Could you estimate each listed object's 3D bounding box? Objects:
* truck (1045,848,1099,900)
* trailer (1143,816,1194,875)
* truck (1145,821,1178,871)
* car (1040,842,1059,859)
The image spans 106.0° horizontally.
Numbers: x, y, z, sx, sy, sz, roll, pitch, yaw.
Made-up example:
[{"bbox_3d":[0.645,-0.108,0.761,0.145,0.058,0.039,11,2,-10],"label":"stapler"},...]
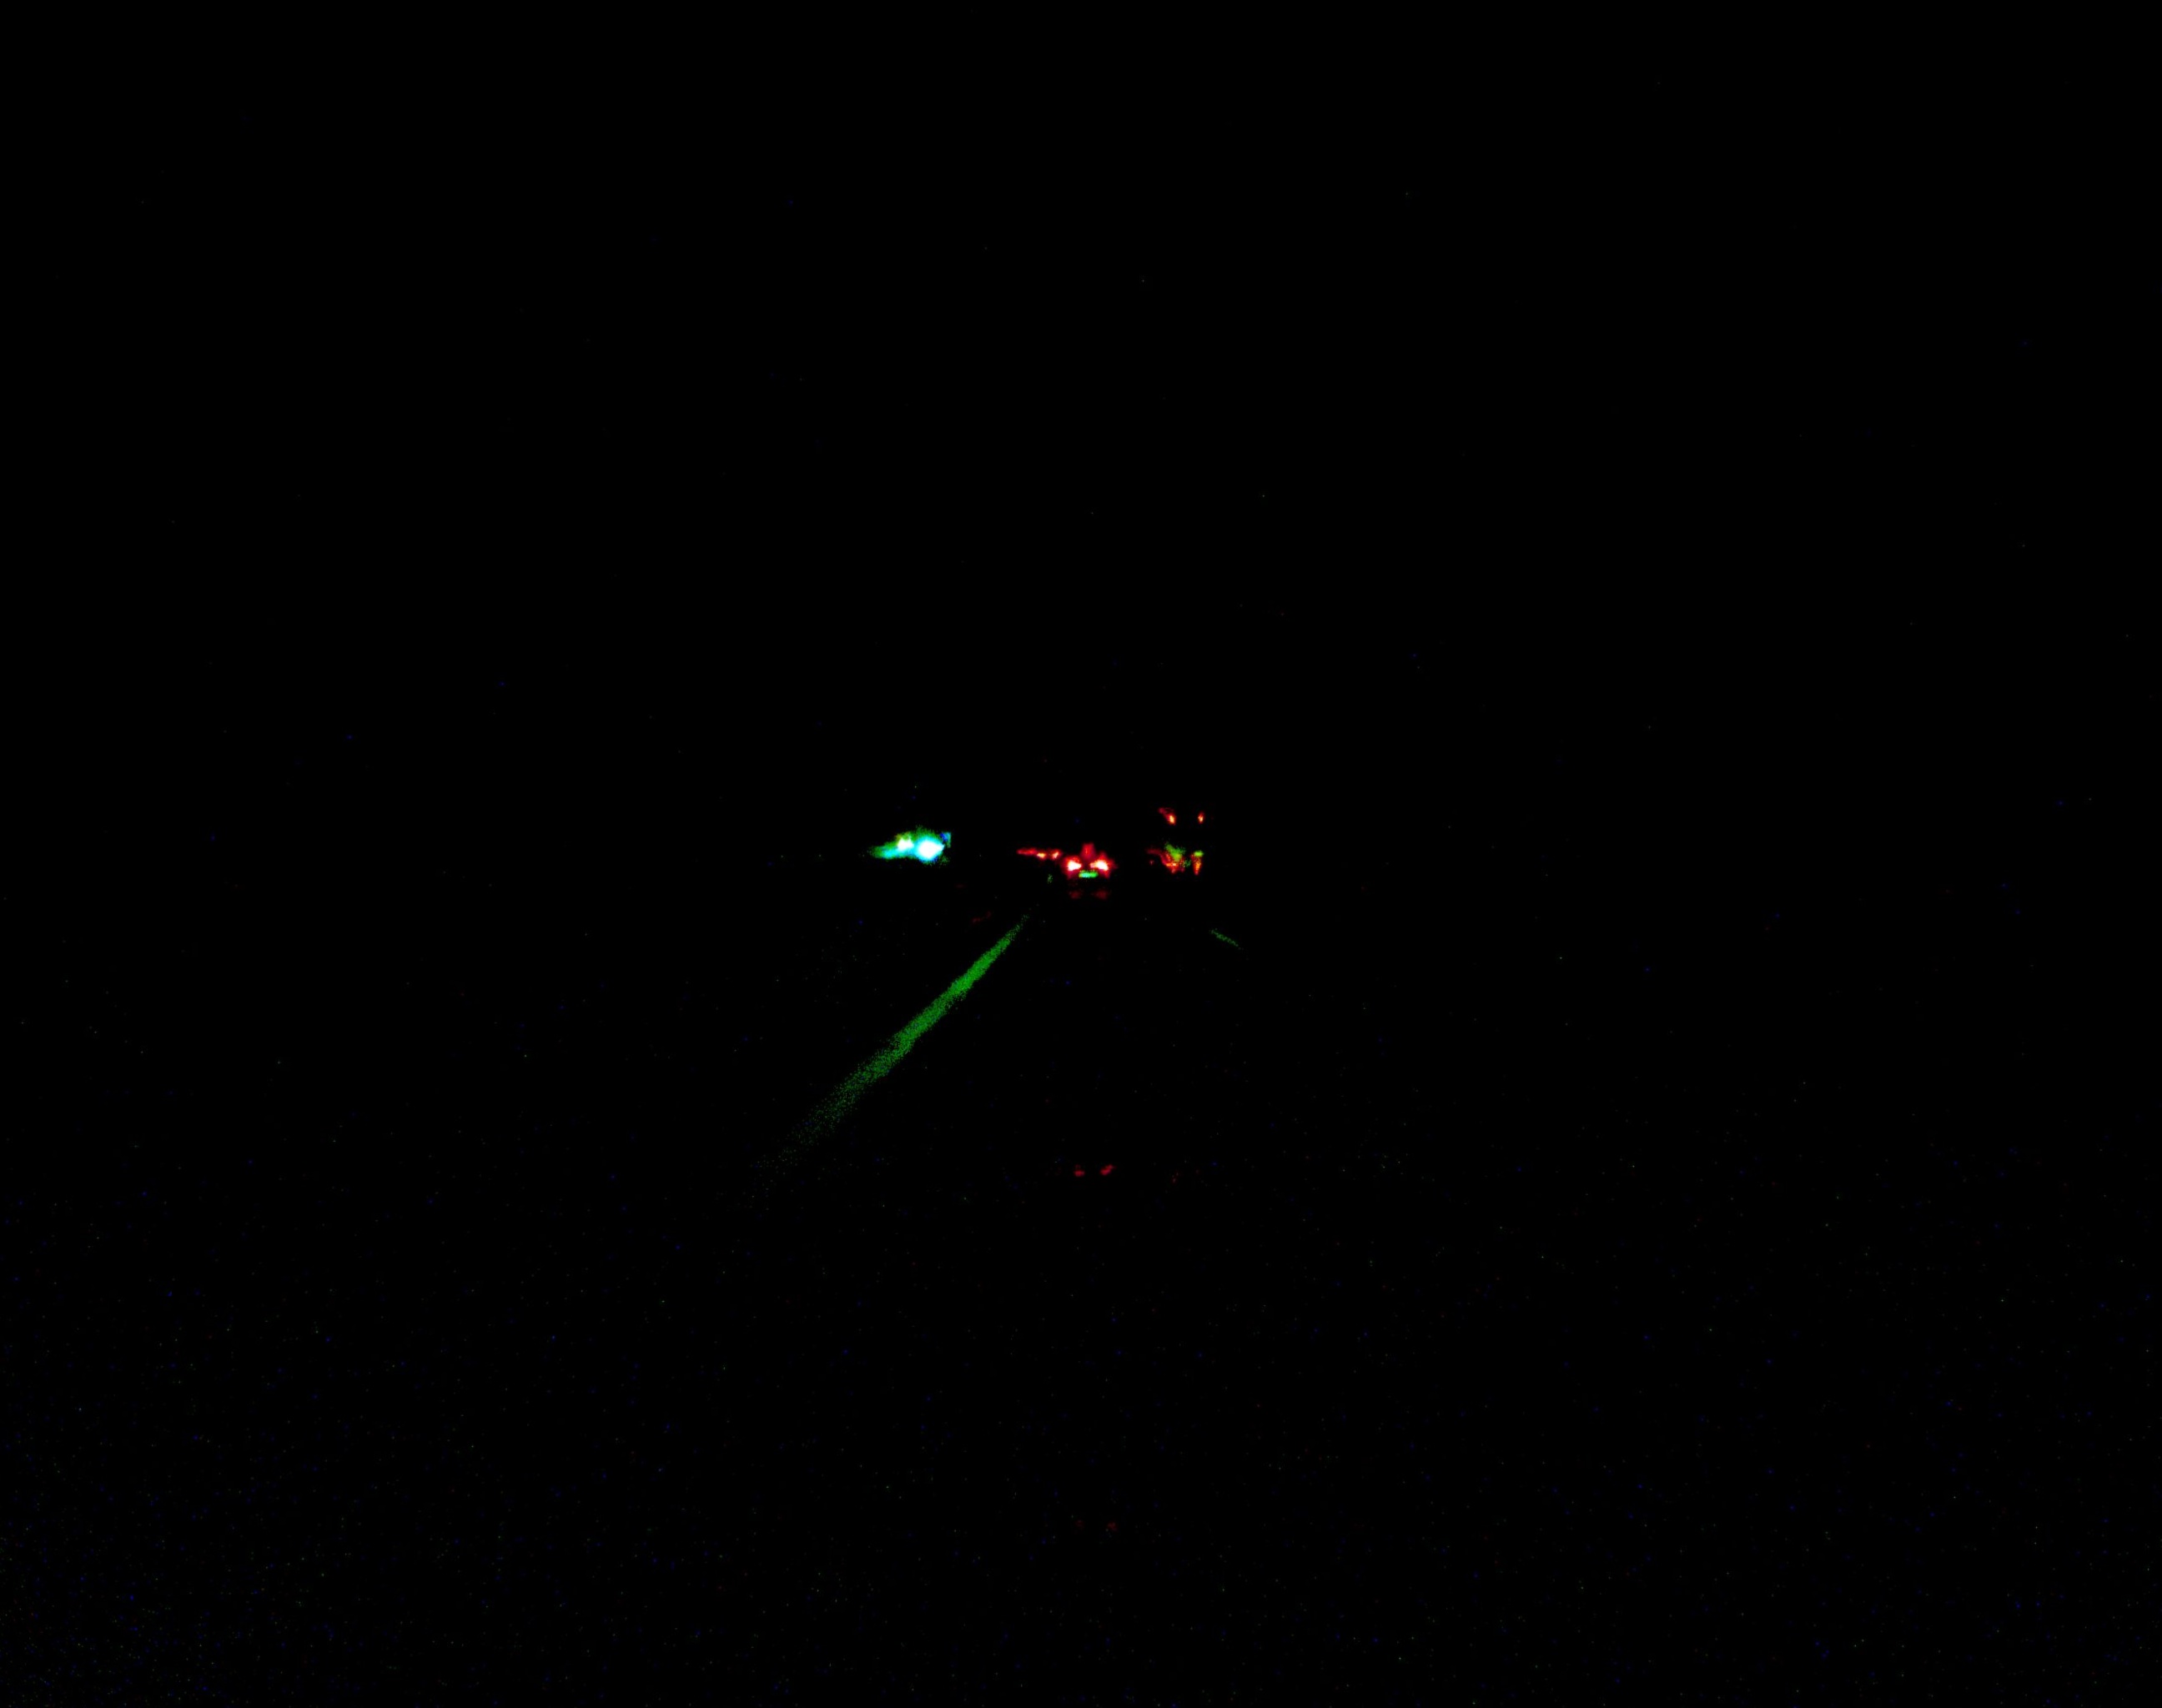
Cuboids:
[{"bbox_3d":[-0.336,0.860,39.774,2.137,2.077,6.608,4,1,2],"label":"truck"},{"bbox_3d":[6.996,-0.743,66.703,2.730,4.247,13.373,-2,1,1],"label":"trailer"},{"bbox_3d":[7.143,-0.718,72.802,2.699,4.241,5.297,0,1,2],"label":"truck"},{"bbox_3d":[-3.872,-0.459,100.157,1.992,2.014,3.989,-1,-1,-8],"label":"car"}]
